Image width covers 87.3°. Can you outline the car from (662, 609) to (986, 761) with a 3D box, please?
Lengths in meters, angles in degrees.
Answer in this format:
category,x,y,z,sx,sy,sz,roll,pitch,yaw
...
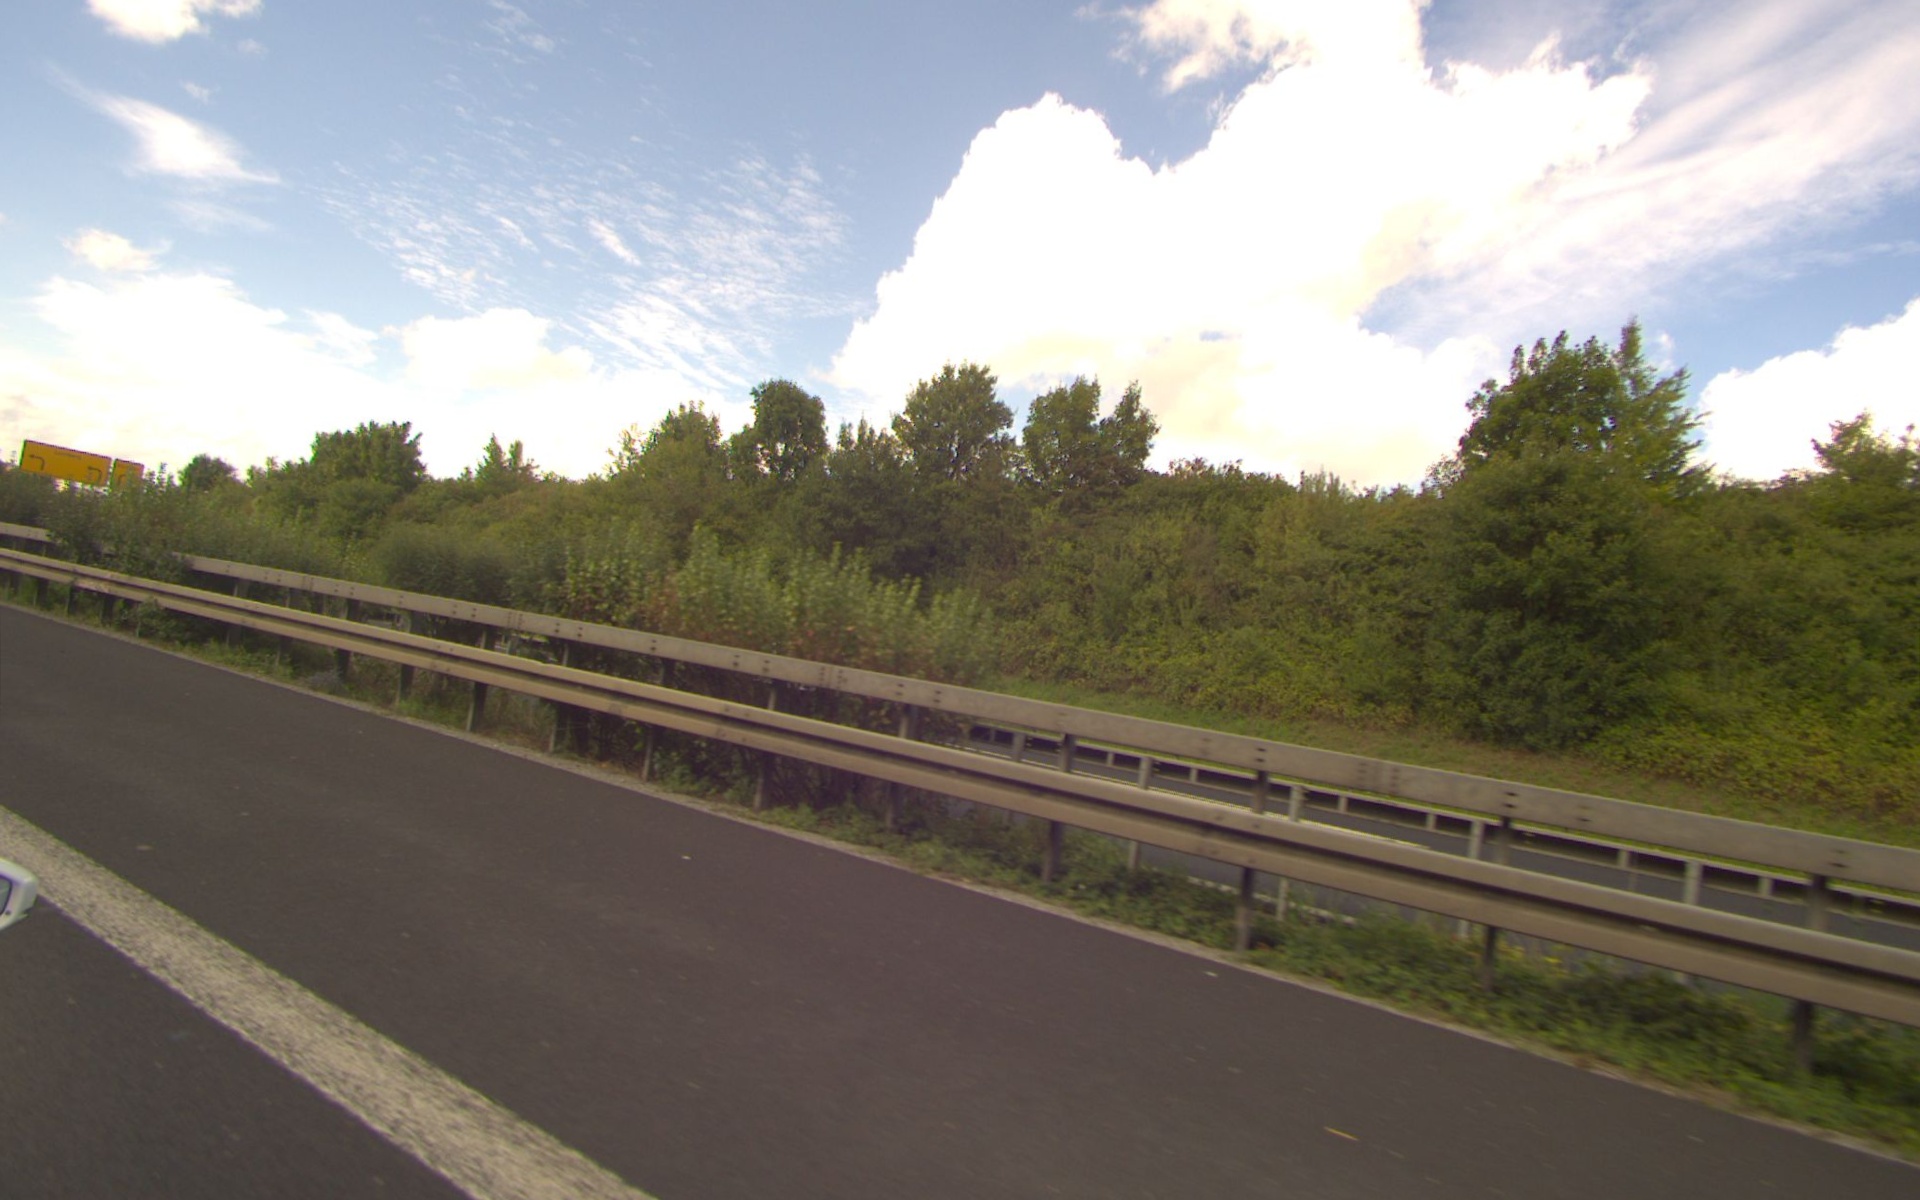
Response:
category,x,y,z,sx,sy,sz,roll,pitch,yaw
car,-2.124,1.246,15.392,4.595,1.536,1.789,7,-2,28
